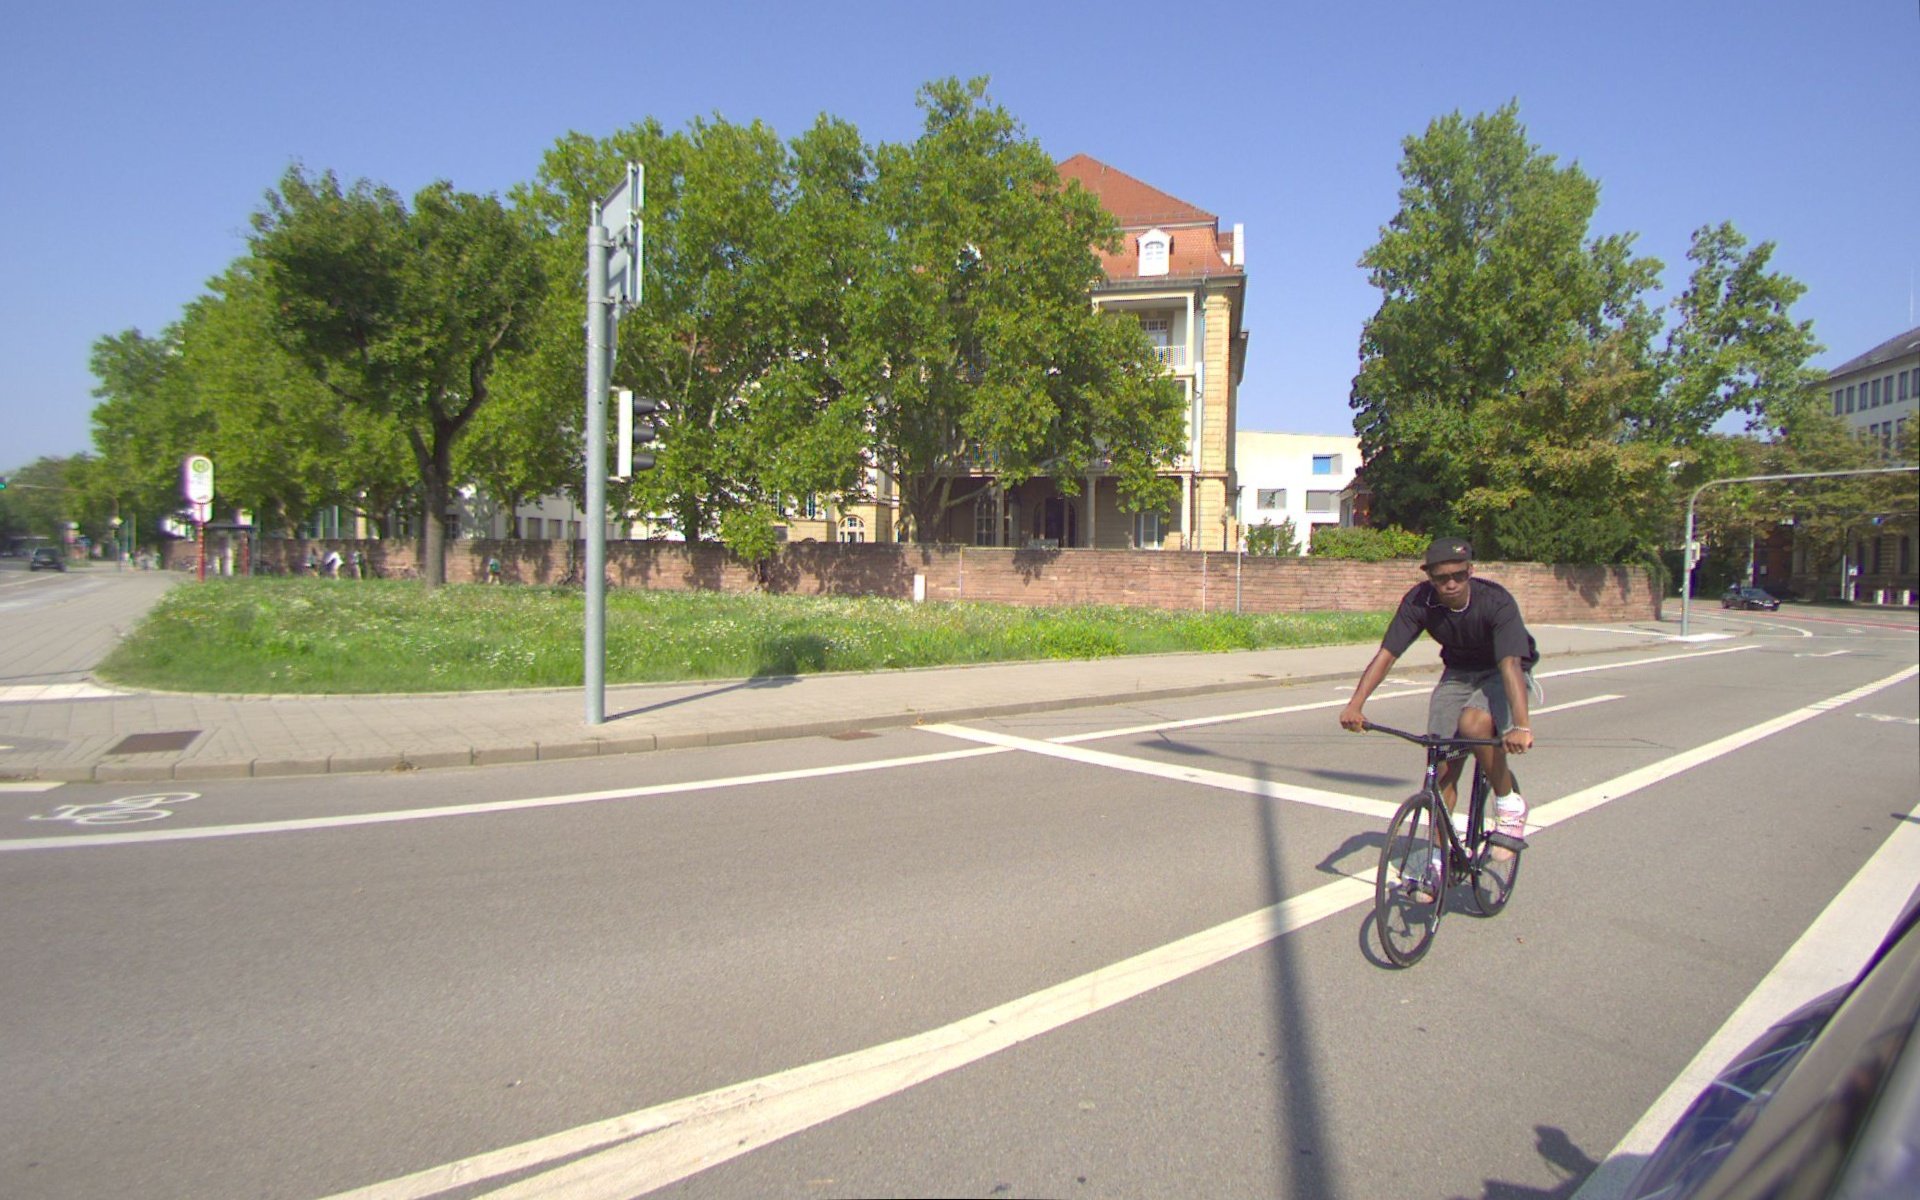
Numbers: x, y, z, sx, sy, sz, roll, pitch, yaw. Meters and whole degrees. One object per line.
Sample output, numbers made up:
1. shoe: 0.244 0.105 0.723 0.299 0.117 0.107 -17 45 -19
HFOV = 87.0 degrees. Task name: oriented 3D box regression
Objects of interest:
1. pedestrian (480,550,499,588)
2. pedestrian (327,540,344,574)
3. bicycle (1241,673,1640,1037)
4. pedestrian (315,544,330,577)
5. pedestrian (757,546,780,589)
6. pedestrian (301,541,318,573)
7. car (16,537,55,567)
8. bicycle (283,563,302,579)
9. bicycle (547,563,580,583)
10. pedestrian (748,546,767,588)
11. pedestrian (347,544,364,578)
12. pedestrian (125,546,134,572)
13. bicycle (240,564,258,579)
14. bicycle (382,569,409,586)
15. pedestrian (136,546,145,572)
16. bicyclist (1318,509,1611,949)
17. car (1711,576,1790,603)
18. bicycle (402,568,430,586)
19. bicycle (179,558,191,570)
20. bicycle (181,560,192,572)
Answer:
1. pedestrian: -21.049 -1.392 45.270 0.589 1.672 0.478 -1 0 29
2. pedestrian: -30.696 -2.106 49.745 0.590 1.672 0.514 -1 0 33
3. bicycle: 2.122 0.906 4.299 2.113 0.988 0.773 -1 3 -42
4. pedestrian: -32.864 -2.020 52.177 0.590 1.672 0.477 -1 0 33
5. pedestrian: -7.661 -1.302 40.491 0.709 1.704 0.591 1 2 19
6. pedestrian: -32.917 -2.156 51.213 0.498 1.591 0.529 -1 0 31
7. car: -68.930 -3.525 75.449 3.986 2.039 1.890 0 0 44
8. bicycle: -37.456 -1.645 56.778 1.541 0.845 0.428 3 2 37
9. bicycle: -17.669 -1.196 45.084 1.534 0.845 0.430 2 2 26
10. pedestrian: -8.006 -1.297 40.036 0.587 1.672 0.480 -1 0 20
11. pedestrian: -30.260 -1.941 50.657 0.590 1.672 0.477 -1 0 33
12. pedestrian: -56.739 -2.824 69.146 0.477 1.762 0.504 0 0 -41
13. bicycle: -42.567 -1.690 60.611 1.541 0.845 0.428 3 2 37
14. bicycle: -28.242 -1.124 50.609 1.536 0.845 0.430 2 2 29
15. pedestrian: -56.206 -2.831 69.412 0.477 1.762 0.504 0 0 -41
16. bicyclist: 2.137 0.449 4.278 0.973 1.598 0.773 -1 2 -42
17. car: 50.227 -0.678 64.408 1.965 1.630 4.240 -1 1 6
18. bicycle: -26.770 -1.134 49.776 1.536 0.845 0.430 2 2 29
19. bicycle: -55.014 -2.577 71.830 1.546 0.845 0.427 3 3 45
20. bicycle: -53.424 -2.343 69.896 1.546 0.845 0.427 3 3 45
